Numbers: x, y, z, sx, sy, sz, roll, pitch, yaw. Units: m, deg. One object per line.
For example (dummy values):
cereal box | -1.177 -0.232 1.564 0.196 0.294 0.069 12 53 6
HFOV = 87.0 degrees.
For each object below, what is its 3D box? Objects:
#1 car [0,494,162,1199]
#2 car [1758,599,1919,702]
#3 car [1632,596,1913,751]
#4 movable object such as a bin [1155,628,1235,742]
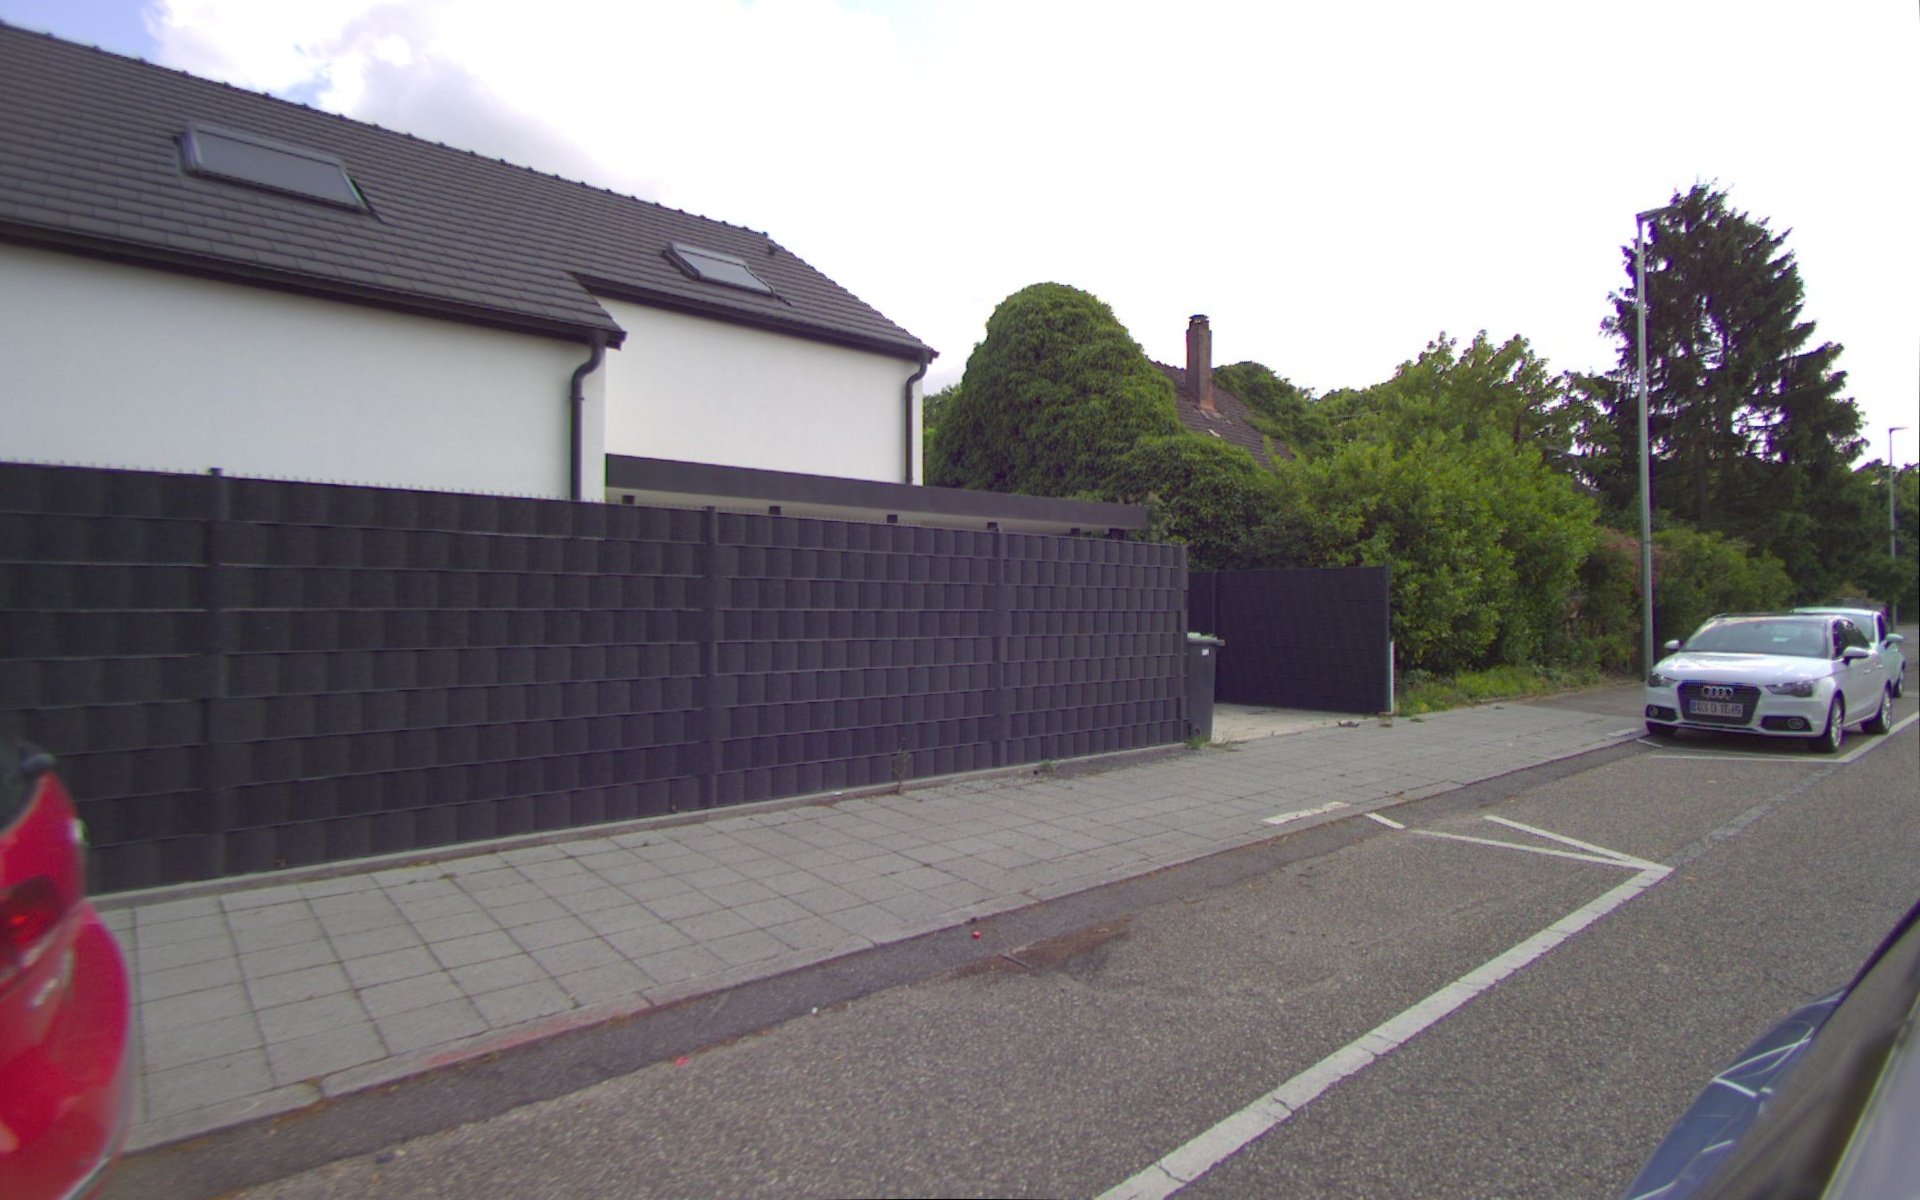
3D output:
car | -3.568 0.646 0.710 4.650 1.599 1.853 0 0 -41
car | 14.759 0.759 16.901 3.689 1.539 1.584 0 0 -41
car | 9.412 0.717 11.649 3.680 1.505 1.726 0 0 -38
movable object such as a bin | 2.327 0.818 10.018 0.619 1.052 0.517 0 -1 -41
